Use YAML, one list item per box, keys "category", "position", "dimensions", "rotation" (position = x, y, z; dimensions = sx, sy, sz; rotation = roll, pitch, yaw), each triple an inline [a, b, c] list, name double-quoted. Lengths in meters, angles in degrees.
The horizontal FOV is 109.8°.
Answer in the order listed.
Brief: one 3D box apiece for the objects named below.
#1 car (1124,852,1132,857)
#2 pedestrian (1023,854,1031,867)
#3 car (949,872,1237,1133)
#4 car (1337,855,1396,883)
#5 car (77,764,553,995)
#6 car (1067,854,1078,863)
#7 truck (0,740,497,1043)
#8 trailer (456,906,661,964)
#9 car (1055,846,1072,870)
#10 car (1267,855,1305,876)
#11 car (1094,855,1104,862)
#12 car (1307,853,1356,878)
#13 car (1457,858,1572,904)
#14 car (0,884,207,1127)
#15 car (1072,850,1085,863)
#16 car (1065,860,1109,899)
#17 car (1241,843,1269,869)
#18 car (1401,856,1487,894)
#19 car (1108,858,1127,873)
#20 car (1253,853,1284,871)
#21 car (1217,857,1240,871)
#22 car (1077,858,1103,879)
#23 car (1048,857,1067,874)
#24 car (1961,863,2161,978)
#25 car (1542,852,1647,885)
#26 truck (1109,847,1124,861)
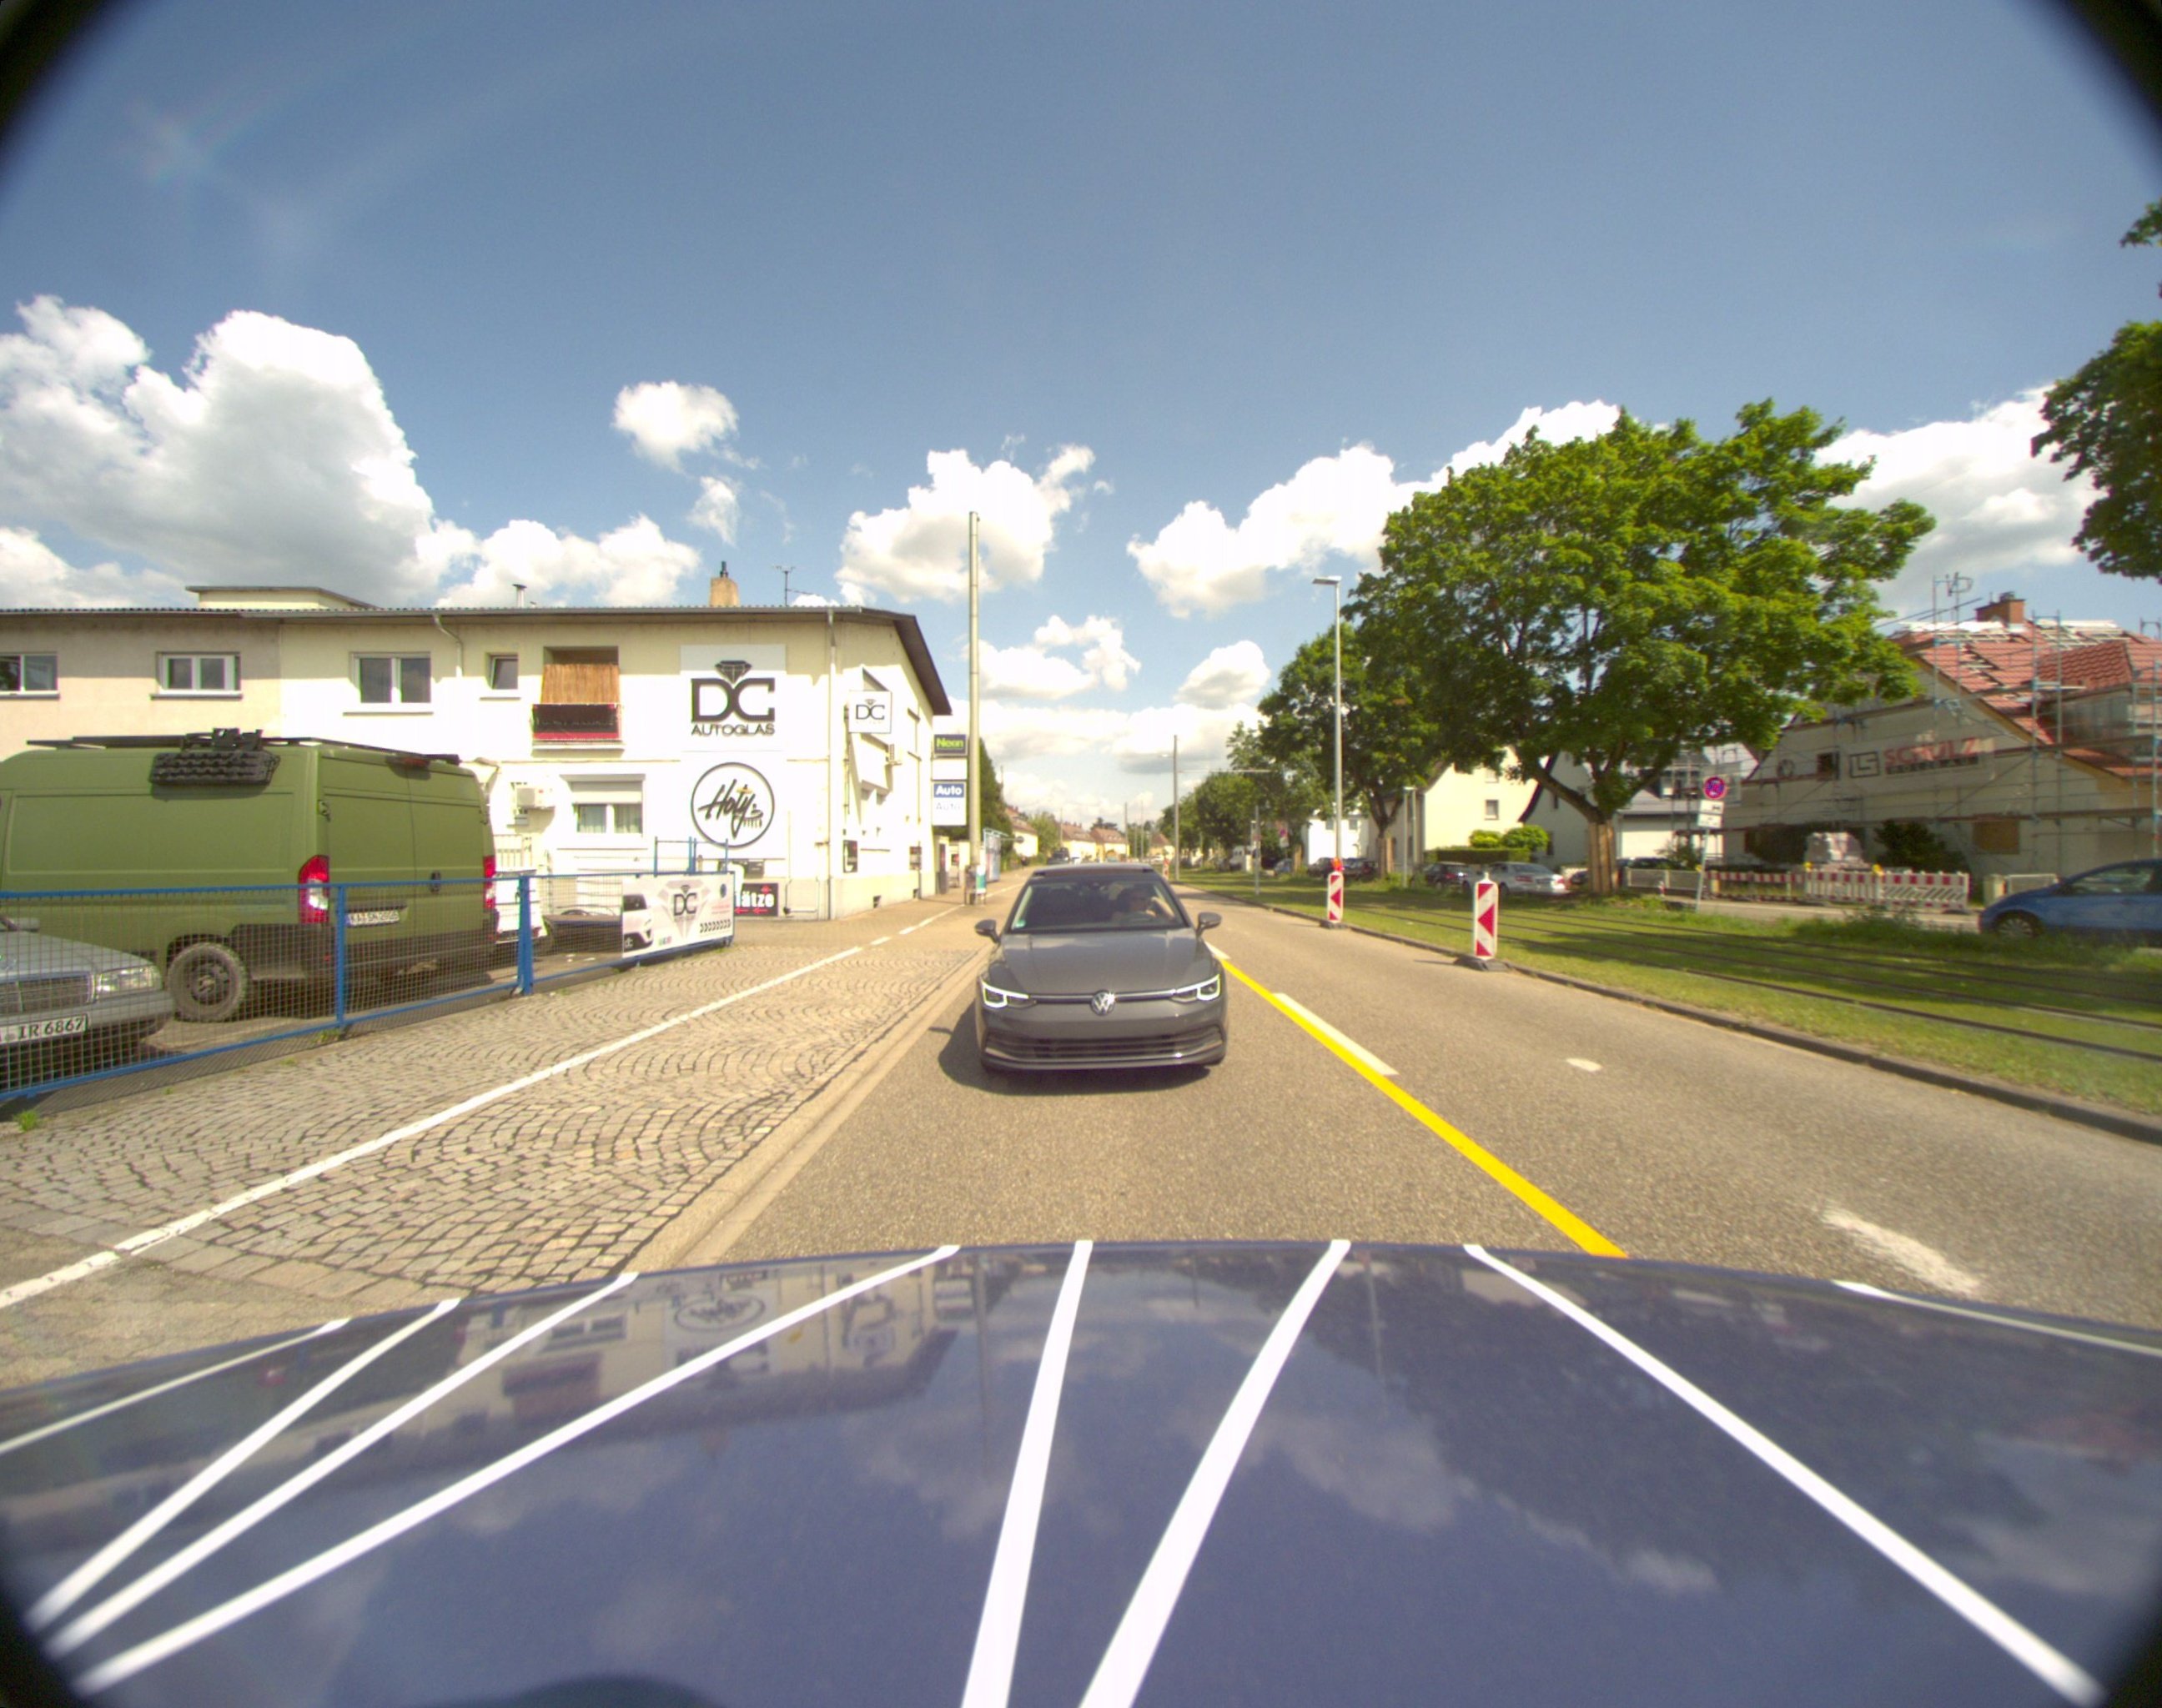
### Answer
- category: "car"
  position: [13.540, 0.242, 218.479]
  dimensions: [1.718, 1.470, 4.013]
  rotation: [0, 0, 13]
- category: "pedestrian"
  position: [-6.329, 0.766, 88.596]
  dimensions: [0.816, 1.577, 0.918]
  rotation: [0, 0, 1]
- category: "car"
  position: [0.099, 0.937, 6.546]
  dimensions: [1.719, 1.470, 4.009]
  rotation: [0, 0, 1]
- category: "car"
  position: [16.902, 0.852, 45.269]
  dimensions: [1.755, 1.602, 4.606]
  rotation: [0, 0, 0]
- category: "car"
  position: [-9.455, 0.302, 9.654]
  dimensions: [4.209, 2.653, 1.803]
  rotation: [0, 0, 0]
- category: "car"
  position: [-1.361, 0.742, 122.961]
  dimensions: [1.720, 1.470, 4.009]
  rotation: [0, 0, 0]
- category: "truck"
  position: [-8.624, 0.328, 7.569]
  dimensions: [3.997, 2.592, 2.069]
  rotation: [0, 0, 1]
- category: "trailer"
  position: [-8.062, 1.238, 11.839]
  dimensions: [2.329, 0.762, 1.269]
  rotation: [0, 0, 2]
- category: "car"
  position: [-1.916, 0.413, 82.851]
  dimensions: [1.720, 2.526, 5.794]
  rotation: [0, 0, 0]
- category: "car"
  position: [16.496, 0.918, 61.358]
  dimensions: [1.755, 1.602, 4.606]
  rotation: [0, 0, 0]
- category: "car"
  position: [4.111, 1.000, 172.738]
  dimensions: [1.718, 1.470, 4.011]
  rotation: [0, 0, 8]
- category: "car"
  position: [16.680, 0.765, 50.909]
  dimensions: [1.755, 1.602, 4.606]
  rotation: [0, 0, 0]
- category: "car"
  position: [16.389, 0.965, 29.009]
  dimensions: [1.755, 1.602, 4.606]
  rotation: [0, 0, 0]
- category: "car"
  position: [-8.437, 0.918, 4.813]
  dimensions: [4.206, 1.388, 1.804]
  rotation: [0, 0, 8]
- category: "car"
  position: [-0.424, 0.403, 136.325]
  dimensions: [1.719, 2.360, 5.211]
  rotation: [0, 0, 5]
- category: "car"
  position: [0.250, 1.019, 31.498]
  dimensions: [1.719, 1.470, 4.009]
  rotation: [0, 0, 1]
- category: "car"
  position: [17.648, 0.199, 77.082]
  dimensions: [1.755, 2.601, 4.606]
  rotation: [0, 0, 0]
- category: "car"
  position: [16.590, 0.917, 35.031]
  dimensions: [1.755, 1.602, 4.606]
  rotation: [0, 0, 0]
- category: "car"
  position: [3.731, 1.176, 78.353]
  dimensions: [1.755, 1.405, 4.261]
  rotation: [0, 0, 0]
- category: "car"
  position: [17.586, 0.758, 71.498]
  dimensions: [1.755, 1.602, 4.606]
  rotation: [0, 0, 0]
- category: "car"
  position: [16.935, 1.154, 87.272]
  dimensions: [1.755, 1.602, 4.606]
  rotation: [0, 0, 0]
- category: "car"
  position: [0.646, 1.006, 54.406]
  dimensions: [1.787, 1.470, 4.009]
  rotation: [0, 0, 1]
- category: "car"
  position: [-2.159, 1.068, 70.989]
  dimensions: [1.720, 1.470, 4.009]
  rotation: [0, 0, 0]
- category: "car"
  position: [16.245, 0.958, 11.234]
  dimensions: [1.755, 1.602, 4.050]
  rotation: [0, 0, 0]
- category: "car"
  position: [25.512, 0.721, 37.834]
  dimensions: [4.047, 1.602, 1.757]
  rotation: [0, 0, 1]
- category: "truck"
  position: [9.413, 0.028, 201.137]
  dimensions: [2.590, 3.431, 8.585]
  rotation: [0, 0, 11]
